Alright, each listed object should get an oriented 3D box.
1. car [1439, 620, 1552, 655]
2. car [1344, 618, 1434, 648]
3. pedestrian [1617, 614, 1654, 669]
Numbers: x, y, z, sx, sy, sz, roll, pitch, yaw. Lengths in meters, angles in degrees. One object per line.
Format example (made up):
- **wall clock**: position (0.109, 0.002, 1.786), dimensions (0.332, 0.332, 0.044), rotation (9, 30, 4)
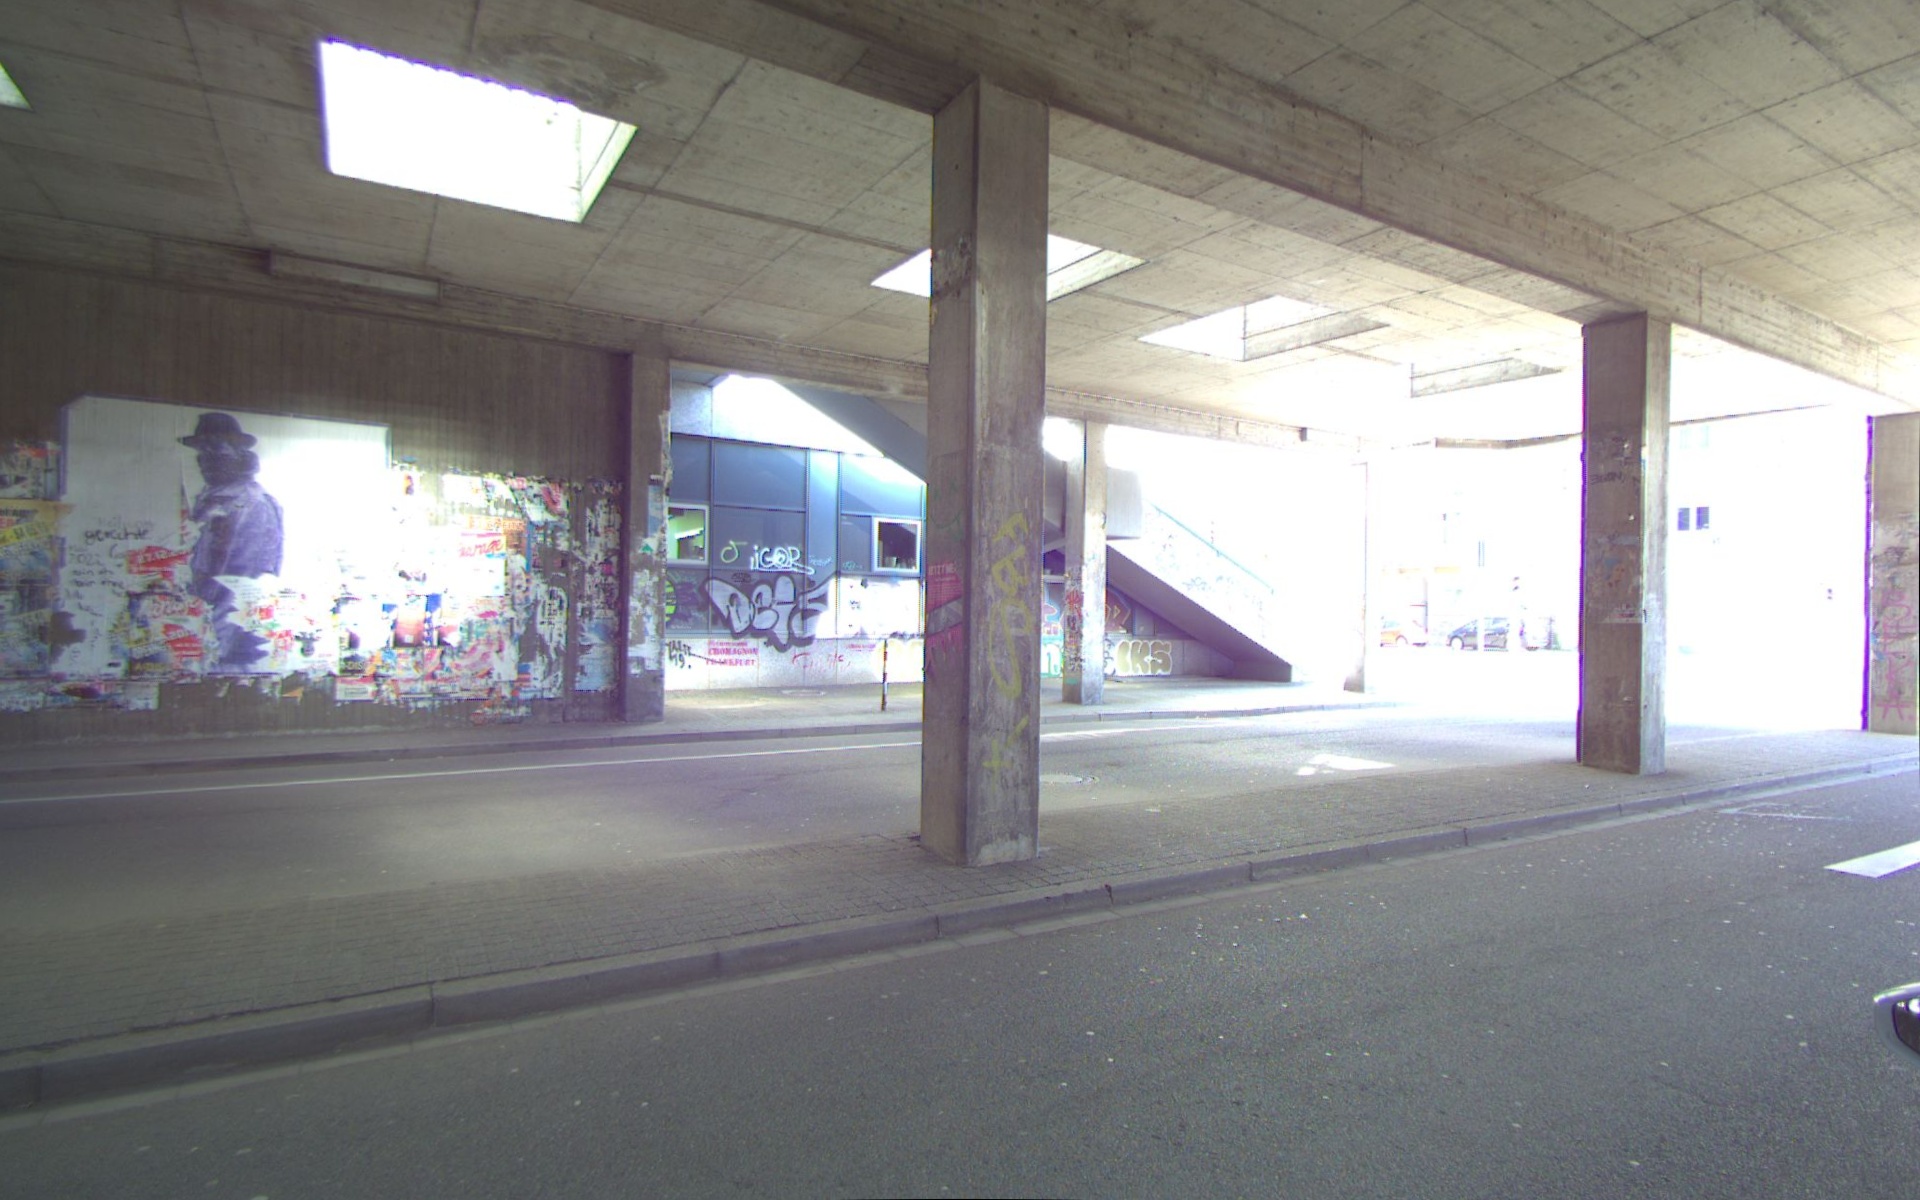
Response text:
- **car**: position (25.346, 1.751, 47.720), dimensions (1.905, 1.428, 4.382), rotation (2, 0, -32)
- **car**: position (22.431, 1.709, 52.691), dimensions (1.905, 1.428, 3.965), rotation (2, 0, -32)
- **pedestrian**: position (20.753, 1.275, 30.877), dimensions (0.732, 1.659, 0.669), rotation (2, 0, -30)
